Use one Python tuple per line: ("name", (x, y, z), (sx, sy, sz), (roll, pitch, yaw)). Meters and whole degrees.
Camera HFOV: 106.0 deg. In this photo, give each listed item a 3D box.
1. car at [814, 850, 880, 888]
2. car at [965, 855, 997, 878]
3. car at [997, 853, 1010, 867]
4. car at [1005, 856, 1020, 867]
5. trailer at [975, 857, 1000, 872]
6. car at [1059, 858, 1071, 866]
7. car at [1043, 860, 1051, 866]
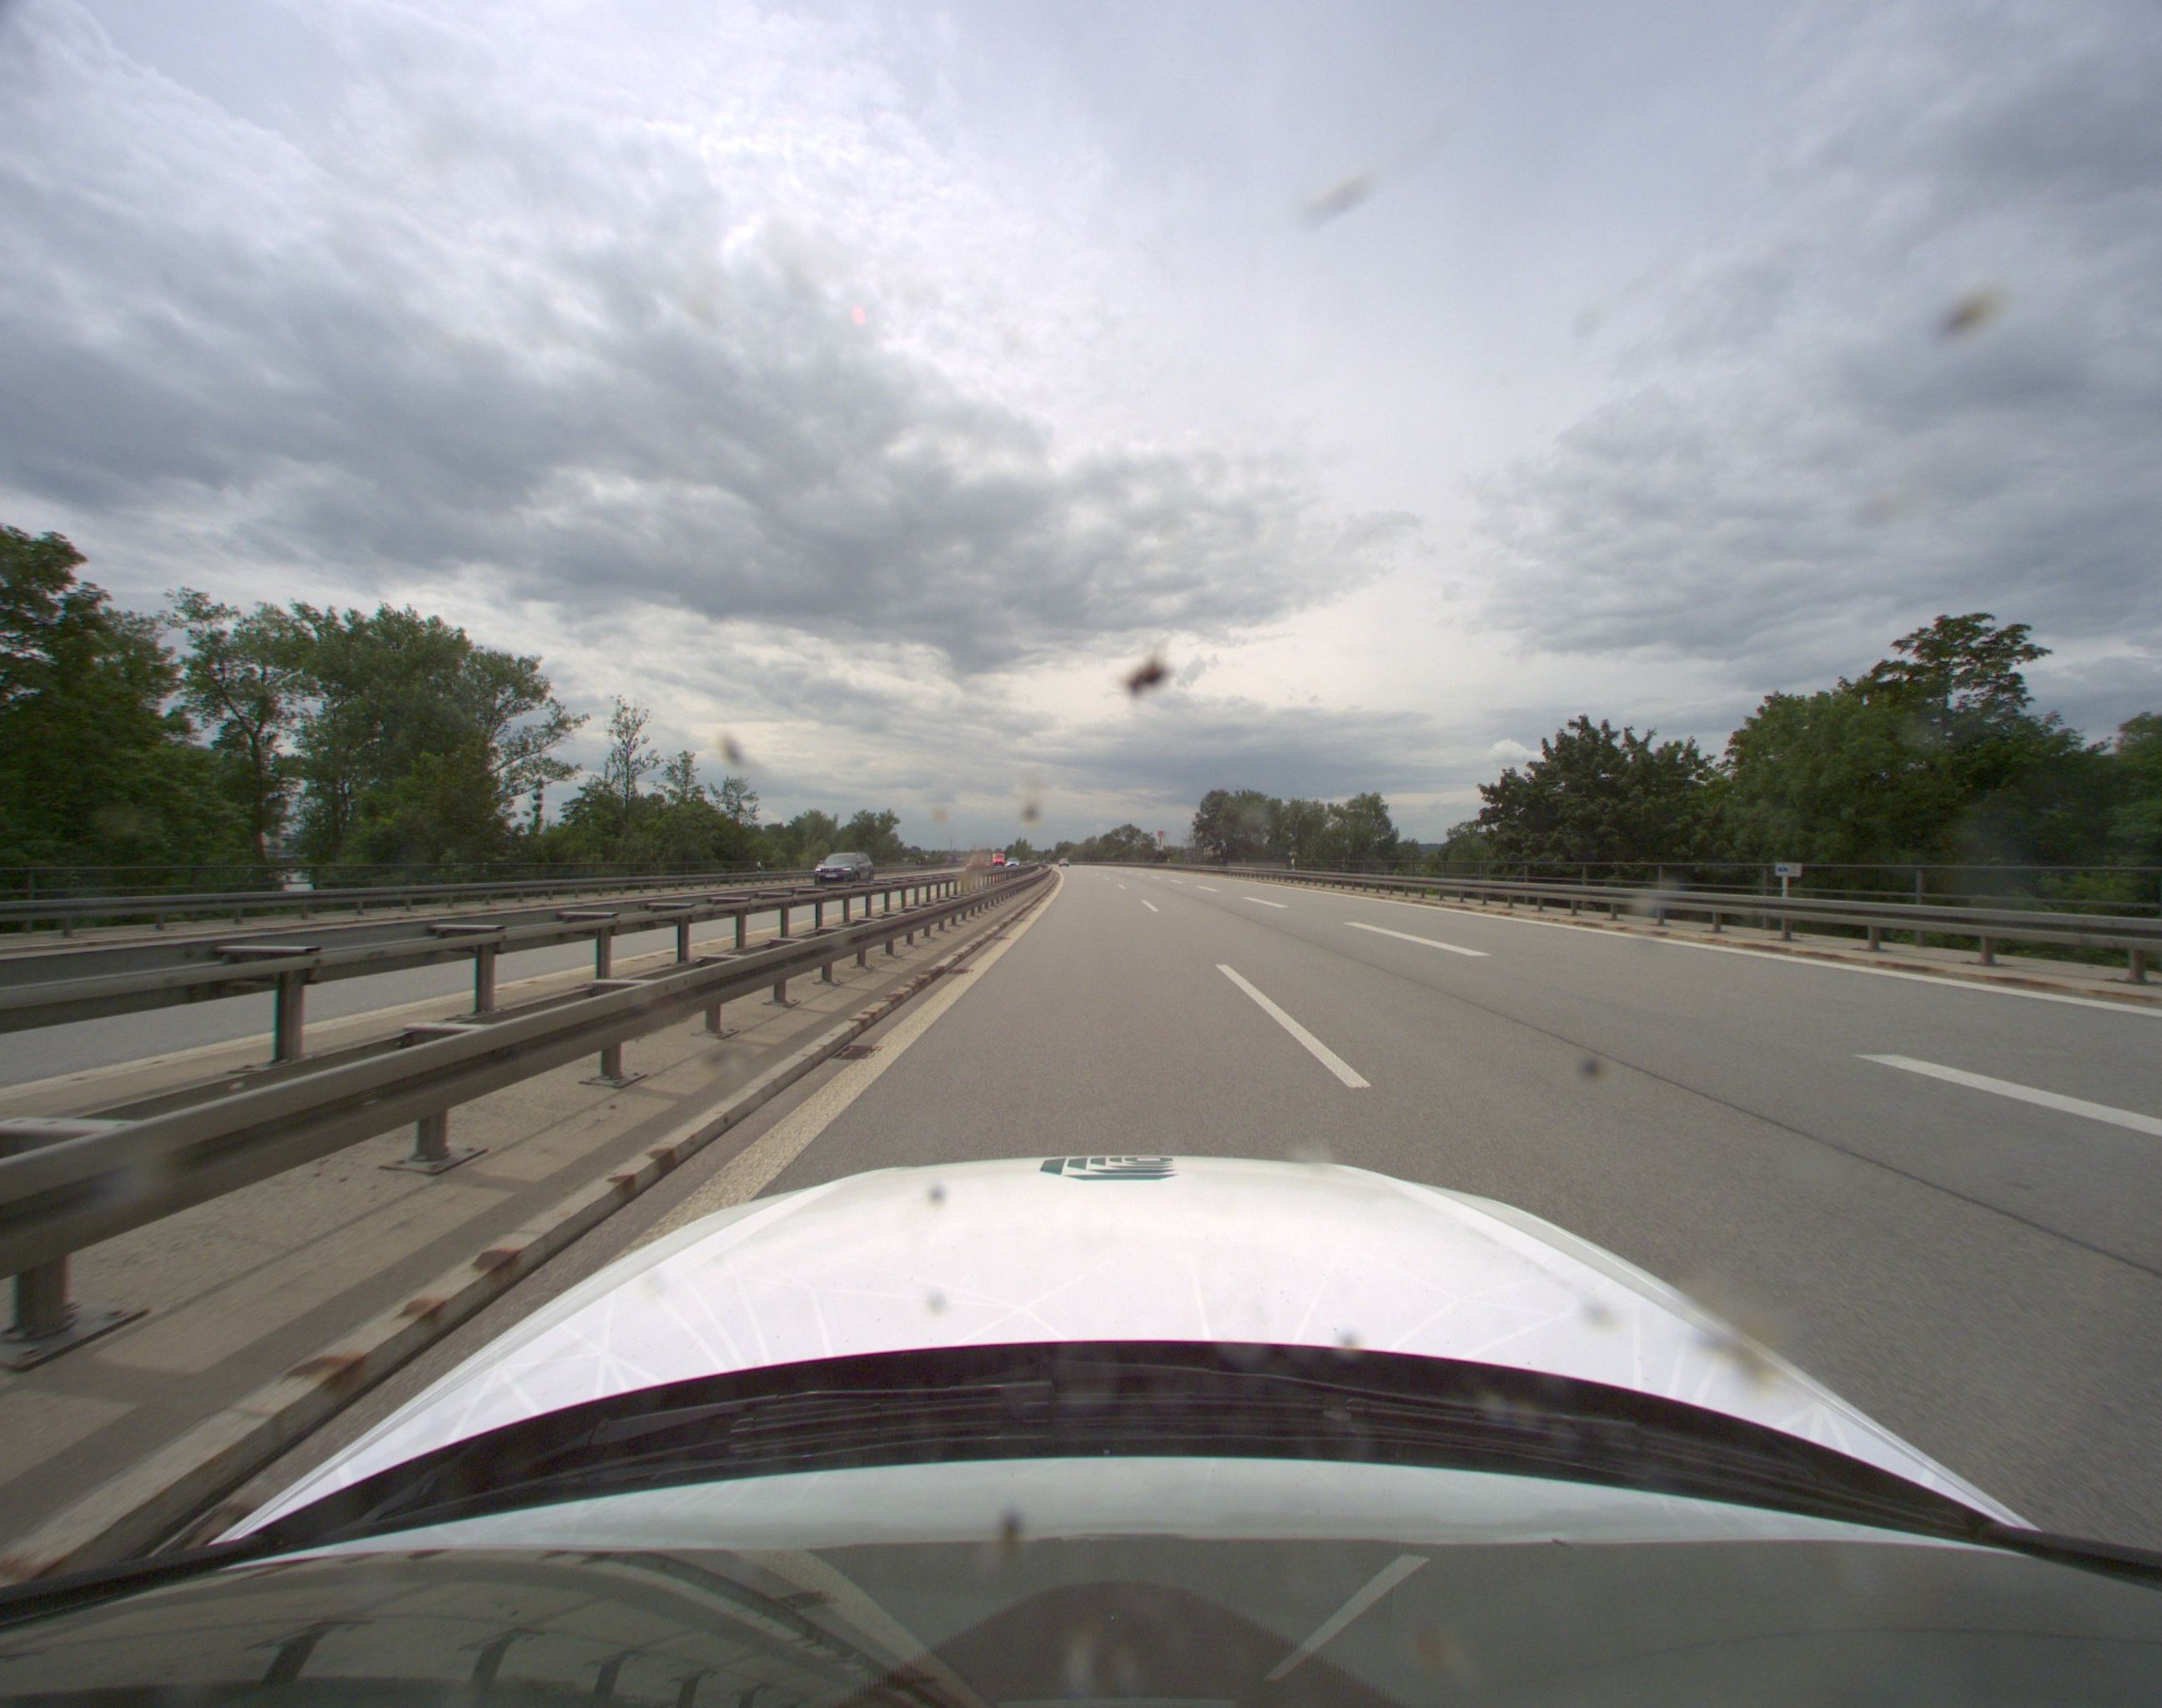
("car", (-10.637, 0.659, 37.298), (1.704, 1.640, 4.567), (0, 0, 0))
("car", (-7.447, 0.880, 61.062), (1.807, 1.640, 4.567), (0, 0, 0))
("car", (-13.090, 1.021, 137.921), (1.989, 2.293, 6.390), (0, 0, -3))
("car", (-9.505, 1.060, 112.942), (1.723, 1.406, 4.249), (2, 0, 0))
("trailer", (-7.425, 0.850, 65.089), (1.554, 1.125, 3.450), (-1, 0, 0))
("car", (-3.418, 1.692, 172.875), (1.902, 1.640, 4.382), (0, -1, -9))
("car", (-9.066, 2.383, 217.181), (1.891, 1.640, 4.608), (0, 0, -8))
